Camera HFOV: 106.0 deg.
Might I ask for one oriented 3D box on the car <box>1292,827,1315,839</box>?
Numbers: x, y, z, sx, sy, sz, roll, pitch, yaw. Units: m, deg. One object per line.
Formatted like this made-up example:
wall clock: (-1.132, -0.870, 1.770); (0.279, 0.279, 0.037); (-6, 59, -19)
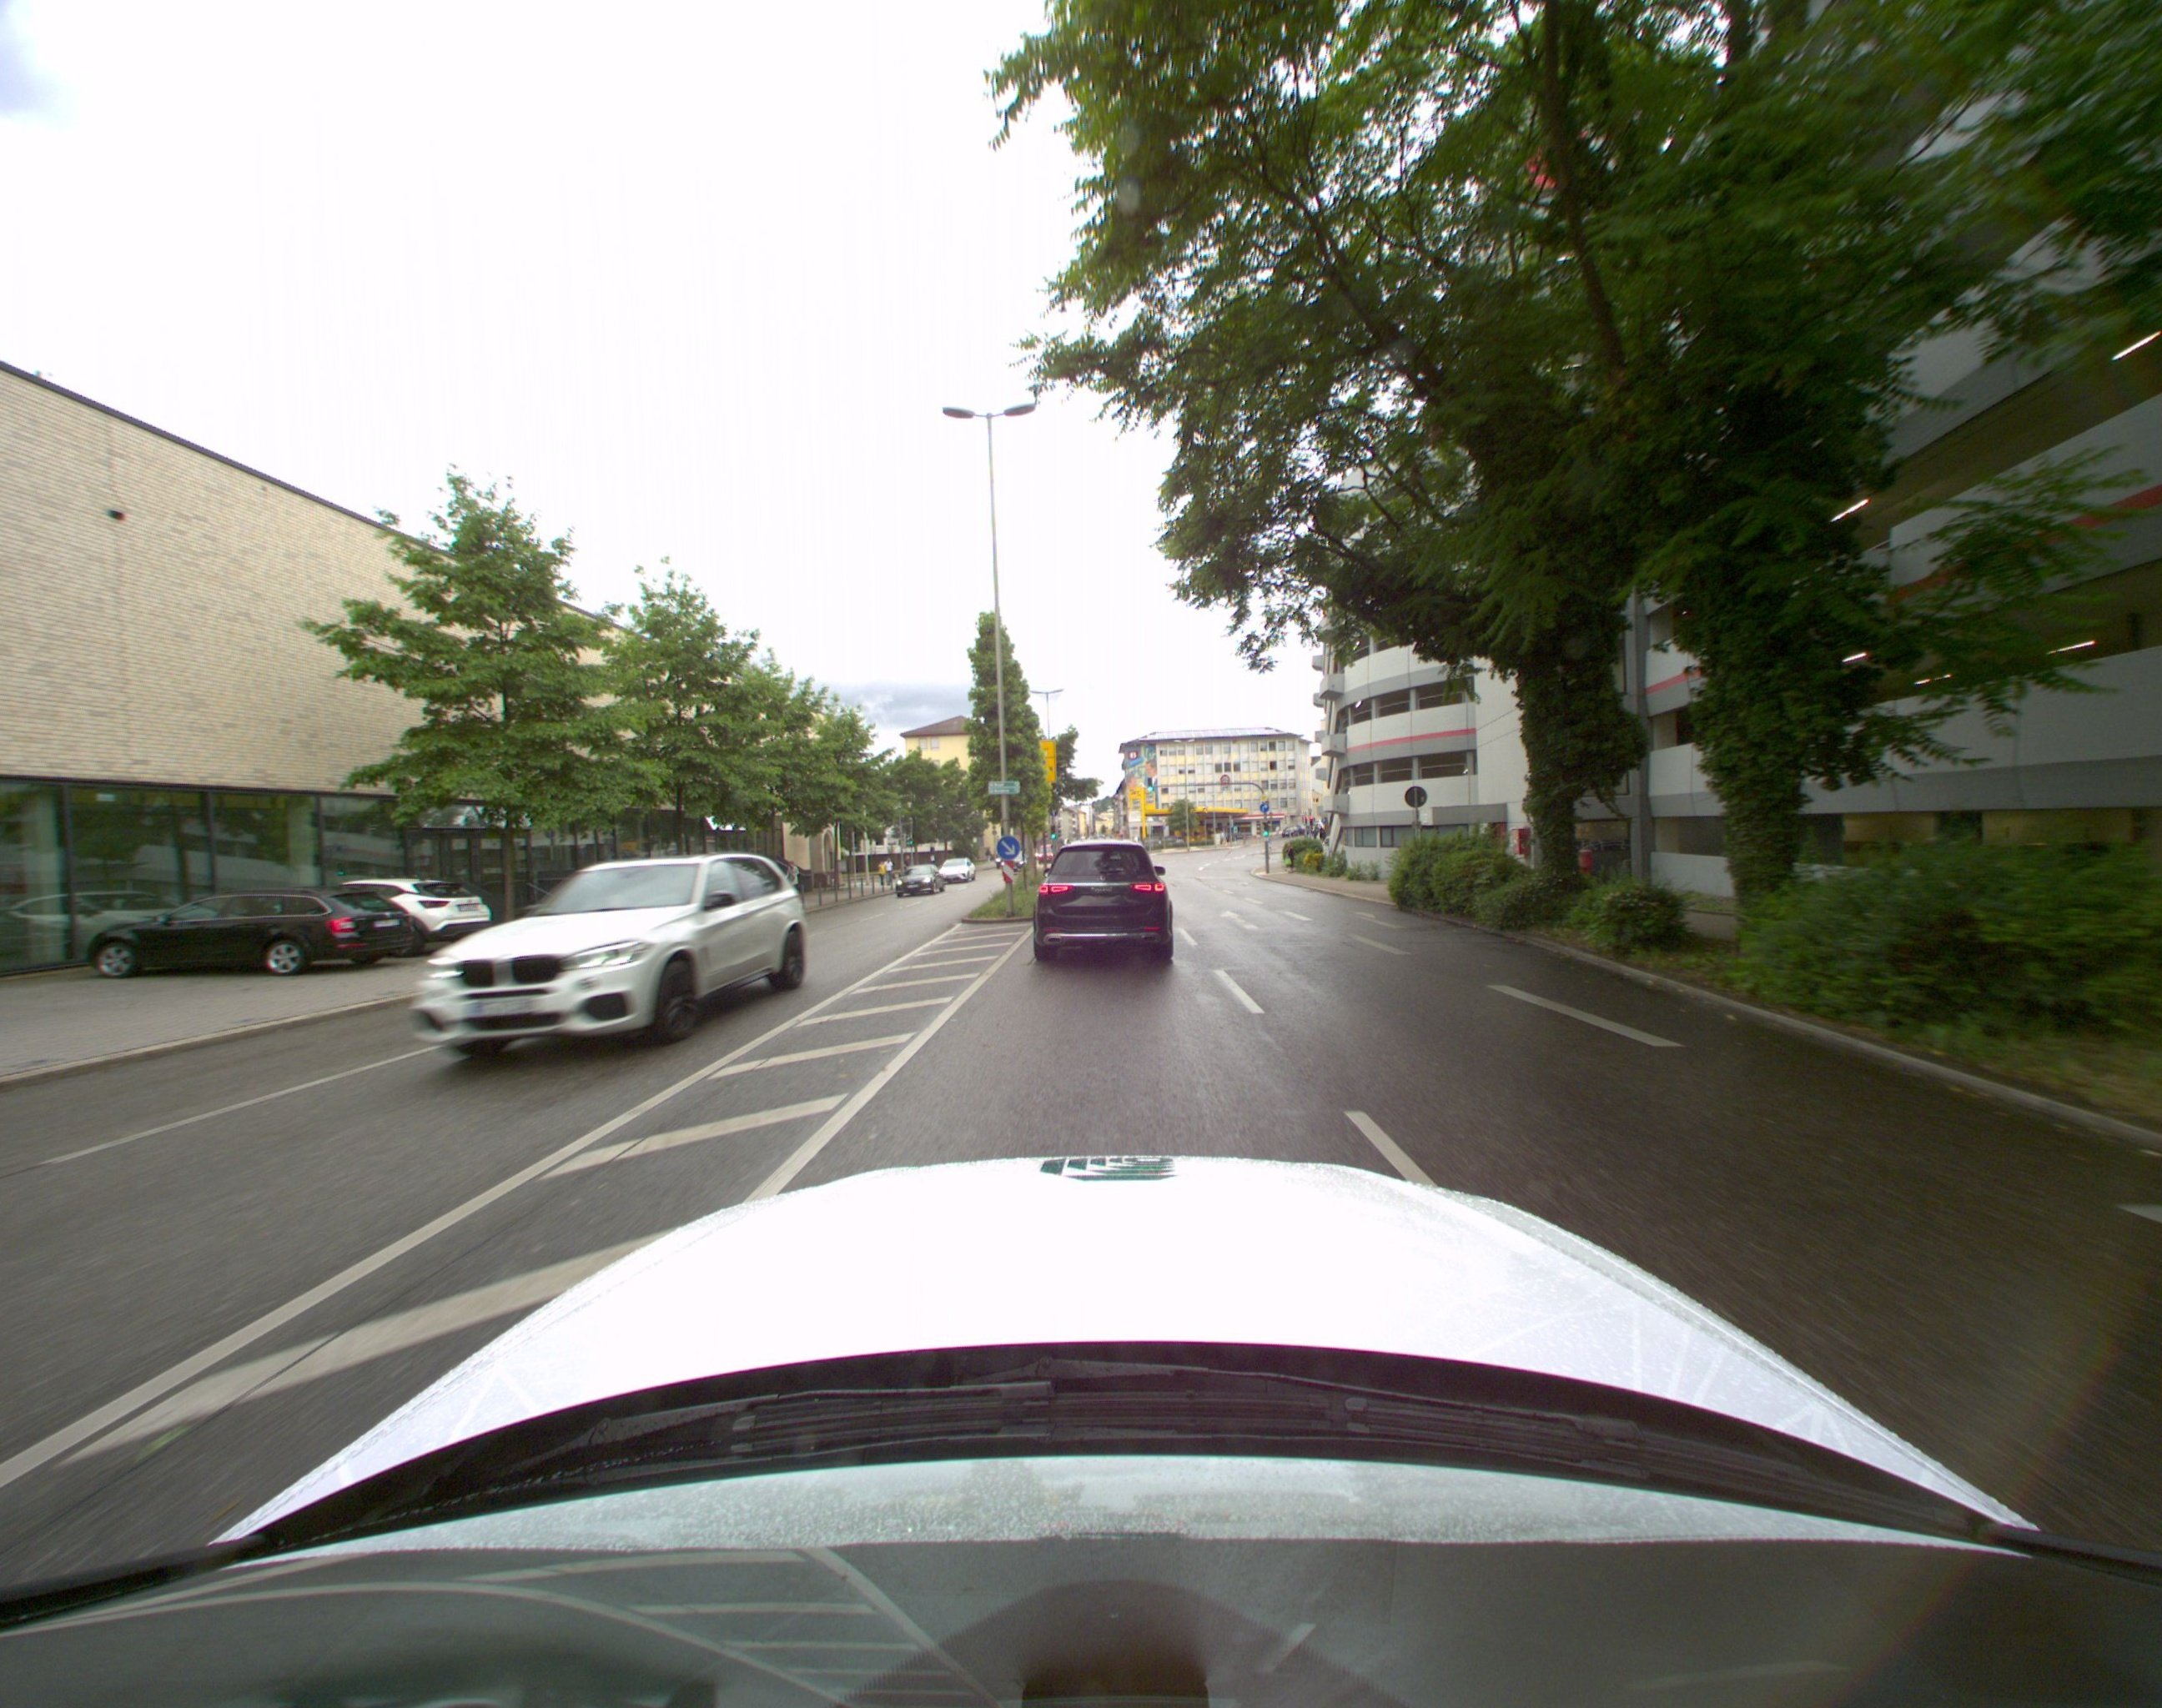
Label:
car: (33.928, -3.252, 124.196); (1.974, 1.706, 4.026); (-3, 1, 35)

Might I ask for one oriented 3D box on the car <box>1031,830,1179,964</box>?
car: (0.387, 0.603, 13.018); (1.986, 1.800, 4.001); (0, -1, 2)

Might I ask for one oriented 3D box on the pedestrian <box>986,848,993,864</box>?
pedestrian: (-10.154, 0.212, 90.344); (0.647, 1.727, 0.628); (-3, 0, -2)

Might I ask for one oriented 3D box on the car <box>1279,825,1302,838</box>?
car: (30.874, -3.281, 120.002); (1.974, 1.706, 4.026); (-3, 1, 35)

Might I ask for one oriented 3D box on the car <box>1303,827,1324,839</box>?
car: (36.654, -3.354, 128.347); (1.974, 1.706, 4.026); (-3, 1, 35)

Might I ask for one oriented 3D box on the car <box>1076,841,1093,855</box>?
car: (0.496, -0.744, 104.949); (1.986, 1.614, 4.191); (0, -1, 2)

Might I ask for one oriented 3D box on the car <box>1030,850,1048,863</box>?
car: (-5.180, 0.284, 100.216); (1.840, 1.429, 4.436); (-4, 1, 1)

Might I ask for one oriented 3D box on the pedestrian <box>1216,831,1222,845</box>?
pedestrian: (17.626, -2.053, 103.865); (0.521, 1.727, 0.693); (-2, 0, 29)

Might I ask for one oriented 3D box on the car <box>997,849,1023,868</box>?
car: (-6.580, 0.399, 76.035); (1.882, 1.586, 4.536); (-4, 0, 0)

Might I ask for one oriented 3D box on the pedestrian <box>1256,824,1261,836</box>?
pedestrian: (25.865, -3.511, 118.500); (0.521, 1.727, 0.693); (-2, 0, 29)

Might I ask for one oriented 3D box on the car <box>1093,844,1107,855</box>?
car: (3.054, -0.671, 127.576); (1.984, 1.547, 4.194); (0, -1, 4)

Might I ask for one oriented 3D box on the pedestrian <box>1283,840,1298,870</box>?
pedestrian: (12.132, 0.078, 47.153); (0.639, 1.710, 0.474); (-2, -2, 38)

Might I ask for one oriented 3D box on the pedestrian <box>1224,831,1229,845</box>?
pedestrian: (18.201, -1.957, 101.910); (0.570, 1.697, 0.631); (0, -1, 3)

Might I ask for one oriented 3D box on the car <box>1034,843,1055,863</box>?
car: (-3.717, -0.083, 82.971); (1.787, 1.854, 4.791); (-4, 0, 0)

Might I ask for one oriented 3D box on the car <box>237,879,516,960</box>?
car: (-14.646, 1.339, 17.111); (4.158, 1.547, 2.002); (0, -1, 3)

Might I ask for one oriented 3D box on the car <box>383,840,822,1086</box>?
car: (-4.532, 0.872, 8.761); (1.885, 1.811, 4.574); (-4, 0, 0)

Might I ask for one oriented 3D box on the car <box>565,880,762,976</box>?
car: (-8.002, 1.337, 16.086); (1.740, 1.412, 3.970); (-4, 0, 0)

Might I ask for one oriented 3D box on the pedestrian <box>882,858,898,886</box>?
pedestrian: (-11.627, 1.062, 49.473); (0.694, 1.656, 0.607); (-3, 1, -33)

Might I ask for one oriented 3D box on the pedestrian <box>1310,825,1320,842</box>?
pedestrian: (29.179, -2.580, 101.716); (0.853, 2.128, 0.947); (-3, 0, -4)

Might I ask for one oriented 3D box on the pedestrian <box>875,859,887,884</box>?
pedestrian: (-12.415, 1.082, 50.657); (0.548, 1.534, 0.435); (-3, 0, -33)

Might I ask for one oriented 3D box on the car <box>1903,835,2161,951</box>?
car: (16.725, 0.630, 13.817); (3.431, 1.783, 1.823); (-2, 0, 14)

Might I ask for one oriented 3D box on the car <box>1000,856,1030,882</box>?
car: (-4.692, 1.017, 58.305); (1.727, 1.625, 4.230); (-4, 0, -1)

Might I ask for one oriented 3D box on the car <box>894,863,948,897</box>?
car: (-7.625, 1.207, 39.160); (1.727, 1.393, 4.198); (-4, 0, -1)

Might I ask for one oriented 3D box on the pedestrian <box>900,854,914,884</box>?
pedestrian: (-10.682, 0.913, 49.991); (0.687, 1.757, 0.716); (-2, 0, -9)

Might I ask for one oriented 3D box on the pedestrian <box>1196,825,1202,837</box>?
pedestrian: (17.036, -3.362, 117.819); (0.521, 1.727, 0.693); (-2, 0, 31)

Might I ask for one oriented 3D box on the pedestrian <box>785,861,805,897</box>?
pedestrian: (-13.523, 1.171, 38.478); (0.641, 1.666, 1.017); (0, -1, -4)

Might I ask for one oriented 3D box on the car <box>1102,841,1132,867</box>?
car: (2.525, 0.029, 57.729); (1.986, 1.800, 4.001); (0, -1, 2)

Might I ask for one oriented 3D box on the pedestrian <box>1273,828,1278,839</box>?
pedestrian: (29.108, -3.039, 121.859); (0.478, 1.641, 0.441); (-1, -1, 30)

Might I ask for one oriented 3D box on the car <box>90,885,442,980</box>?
car: (-14.551, 1.355, 14.804); (4.169, 1.495, 1.997); (0, -1, -5)

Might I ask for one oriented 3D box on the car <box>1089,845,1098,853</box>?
car: (3.189, -1.220, 204.635); (1.985, 2.014, 4.002); (0, -1, 3)

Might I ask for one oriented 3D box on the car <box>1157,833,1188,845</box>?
car: (12.342, -2.019, 110.397); (1.747, 1.376, 3.952); (-3, 1, -42)

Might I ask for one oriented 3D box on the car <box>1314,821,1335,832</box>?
car: (39.932, -4.463, 133.361); (1.974, 1.706, 4.026); (-3, 1, 35)

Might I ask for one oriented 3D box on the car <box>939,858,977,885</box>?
car: (-7.697, 1.071, 51.241); (1.727, 1.469, 4.230); (-4, 0, -1)
